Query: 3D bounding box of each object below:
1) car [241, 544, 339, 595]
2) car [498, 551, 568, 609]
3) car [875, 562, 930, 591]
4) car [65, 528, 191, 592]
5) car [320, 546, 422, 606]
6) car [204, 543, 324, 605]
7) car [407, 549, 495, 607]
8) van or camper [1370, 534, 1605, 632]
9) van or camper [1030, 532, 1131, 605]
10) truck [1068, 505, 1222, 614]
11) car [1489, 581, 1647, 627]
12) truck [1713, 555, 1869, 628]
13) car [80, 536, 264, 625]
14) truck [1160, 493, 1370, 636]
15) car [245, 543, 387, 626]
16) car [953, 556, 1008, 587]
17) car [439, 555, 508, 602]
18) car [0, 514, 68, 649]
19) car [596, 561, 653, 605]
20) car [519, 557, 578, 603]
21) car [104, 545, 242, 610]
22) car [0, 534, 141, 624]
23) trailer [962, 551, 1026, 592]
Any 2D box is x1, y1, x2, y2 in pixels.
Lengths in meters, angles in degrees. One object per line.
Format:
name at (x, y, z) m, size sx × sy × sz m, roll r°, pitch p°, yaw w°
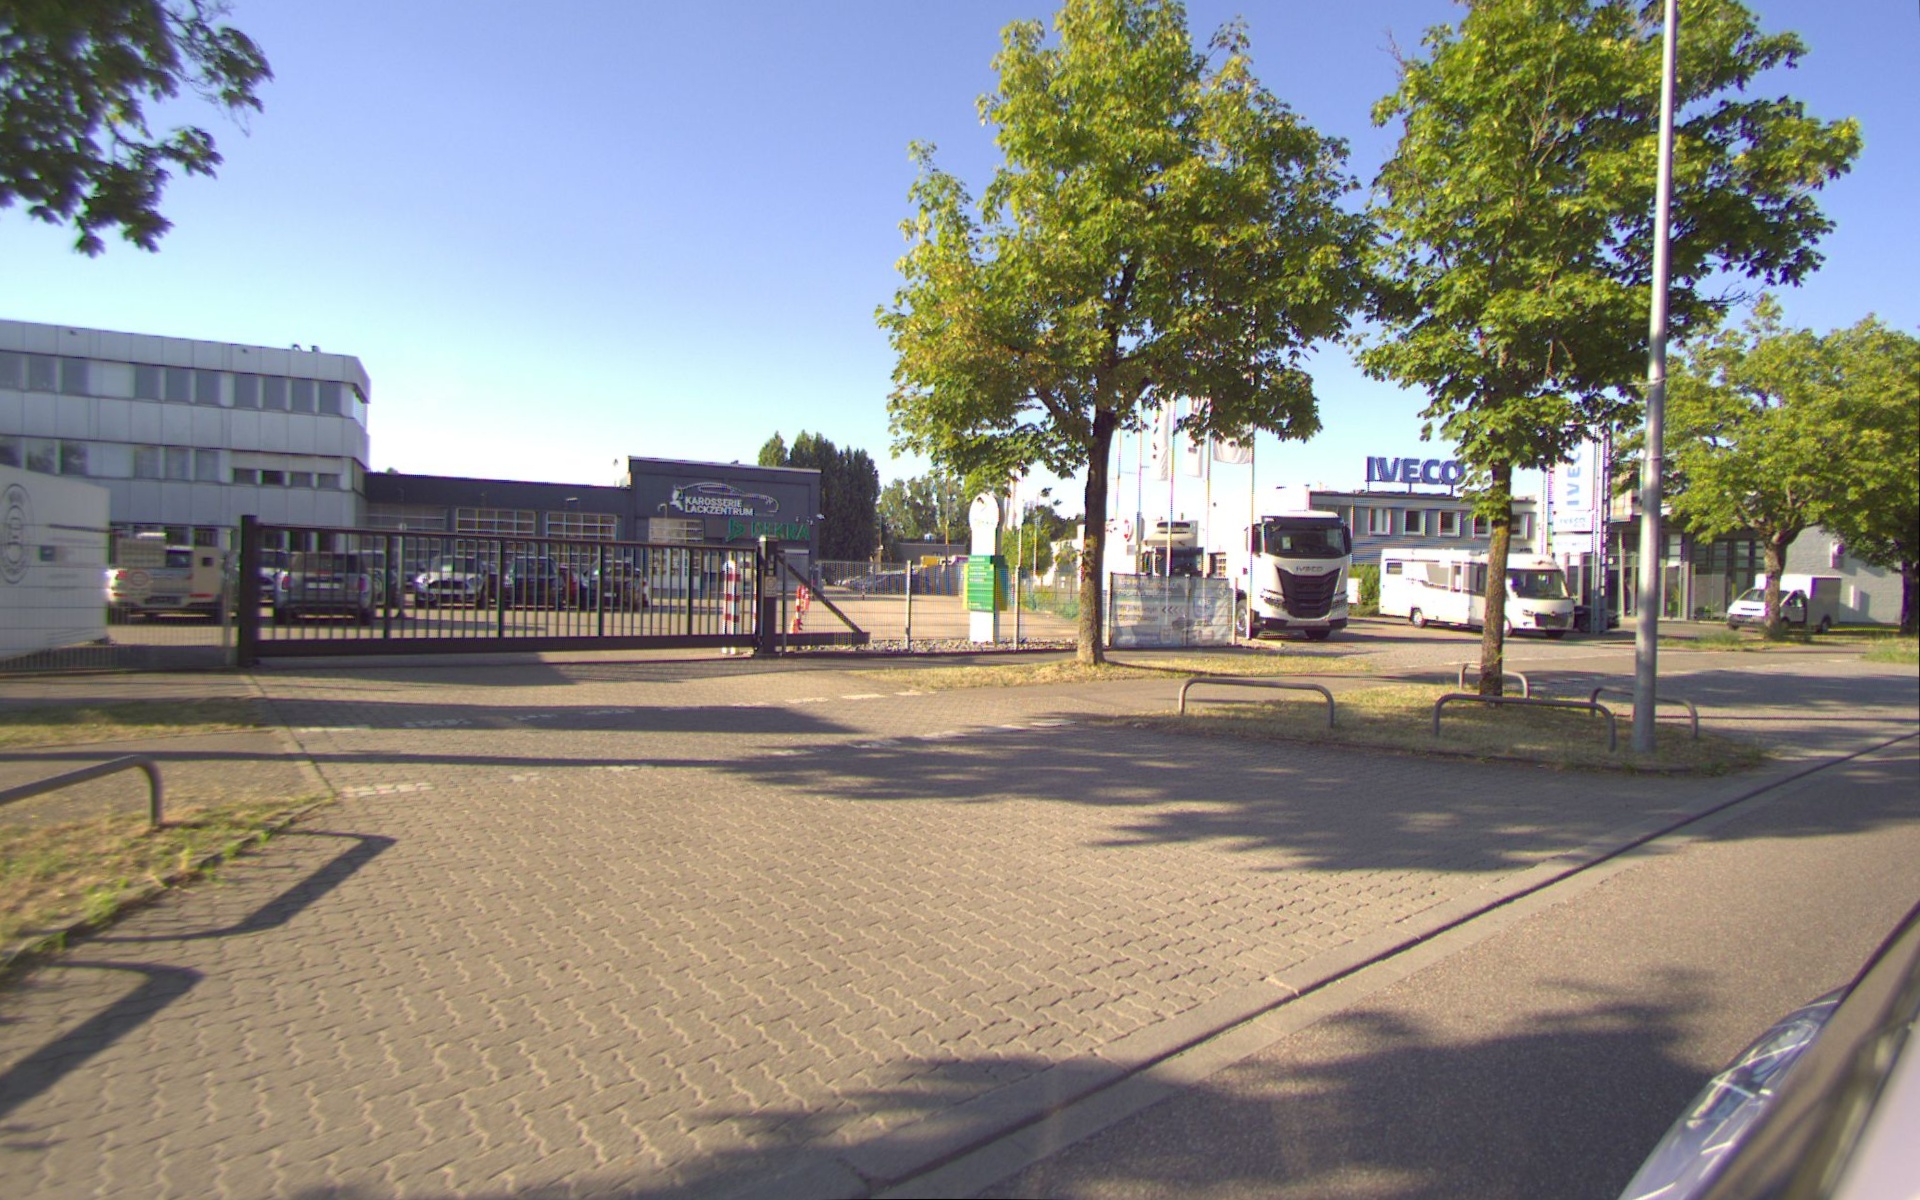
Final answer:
car at (-22.219, -1.026, 33.724) m, size 1.809 × 1.492 × 4.009 m, roll 3°, pitch 1°, yaw -21°
car at (-13.324, -0.658, 31.780) m, size 1.809 × 1.598 × 4.009 m, roll 3°, pitch 1°, yaw -21°
car at (-4.378, -1.784, 76.711) m, size 3.918 × 2.038 × 2.004 m, roll 1°, pitch 1°, yaw -9°
car at (-25.088, -1.190, 30.692) m, size 1.958 × 1.762 × 4.008 m, roll 1°, pitch 2°, yaw -24°
car at (-17.206, -0.726, 29.758) m, size 1.958 × 1.598 × 4.009 m, roll 1°, pitch 2°, yaw -21°
car at (-19.494, -0.776, 28.545) m, size 1.865 × 1.598 × 4.009 m, roll -1°, pitch 2°, yaw -21°
car at (-15.319, -0.695, 30.635) m, size 1.958 × 1.598 × 4.009 m, roll 1°, pitch 2°, yaw -21°
van or camper at (17.886, -0.647, 35.133) m, size 2.882 × 2.936 × 8.027 m, roll 1°, pitch 2°, yaw -9°
van or camper at (5.964, -1.617, 51.766) m, size 2.364 × 3.370 × 8.157 m, roll 1°, pitch 1°, yaw -14°
truck at (6.945, -1.543, 40.001) m, size 3.229 × 3.689 × 10.133 m, roll 1°, pitch 1°, yaw -5°
car at (22.706, 0.100, 37.933) m, size 4.795 × 1.510 × 1.970 m, roll 3°, pitch 2°, yaw 41°
truck at (35.198, -0.351, 42.866) m, size 5.847 × 2.752 × 2.554 m, roll 1°, pitch 4°, yaw -24°
car at (-15.275, -0.402, 19.871) m, size 1.884 × 1.549 × 4.009 m, roll 1°, pitch 2°, yaw -24°
truck at (8.631, -1.015, 30.016) m, size 3.053 × 3.565 × 8.263 m, roll 1°, pitch 1°, yaw -4°
car at (-13.387, -0.359, 21.279) m, size 1.884 × 1.549 × 4.009 m, roll 1°, pitch 2°, yaw -24°
car at (1.558, -2.201, 78.579) m, size 3.918 × 2.306 × 2.092 m, roll 1°, pitch 1°, yaw -9°
car at (-17.102, -0.779, 35.742) m, size 1.809 × 1.492 × 4.009 m, roll 3°, pitch 1°, yaw -21°
car at (-12.144, -0.222, 11.336) m, size 1.958 × 1.598 × 4.009 m, roll 1°, pitch 2°, yaw -21°
car at (-12.690, -0.681, 38.135) m, size 1.809 × 1.492 × 4.009 m, roll 3°, pitch 1°, yaw -21°
car at (-14.897, -0.741, 36.754) m, size 1.809 × 1.492 × 4.009 m, roll 3°, pitch 1°, yaw -21°
car at (-21.394, -0.636, 27.694) m, size 1.865 × 1.598 × 4.009 m, roll 1°, pitch 2°, yaw -21°
car at (-17.355, -0.433, 19.135) m, size 1.884 × 1.549 × 4.009 m, roll 1°, pitch 2°, yaw -24°
trailer at (2.750, -2.286, 81.990) m, size 4.758 × 3.107 × 2.004 m, roll 1°, pitch 1°, yaw -9°
